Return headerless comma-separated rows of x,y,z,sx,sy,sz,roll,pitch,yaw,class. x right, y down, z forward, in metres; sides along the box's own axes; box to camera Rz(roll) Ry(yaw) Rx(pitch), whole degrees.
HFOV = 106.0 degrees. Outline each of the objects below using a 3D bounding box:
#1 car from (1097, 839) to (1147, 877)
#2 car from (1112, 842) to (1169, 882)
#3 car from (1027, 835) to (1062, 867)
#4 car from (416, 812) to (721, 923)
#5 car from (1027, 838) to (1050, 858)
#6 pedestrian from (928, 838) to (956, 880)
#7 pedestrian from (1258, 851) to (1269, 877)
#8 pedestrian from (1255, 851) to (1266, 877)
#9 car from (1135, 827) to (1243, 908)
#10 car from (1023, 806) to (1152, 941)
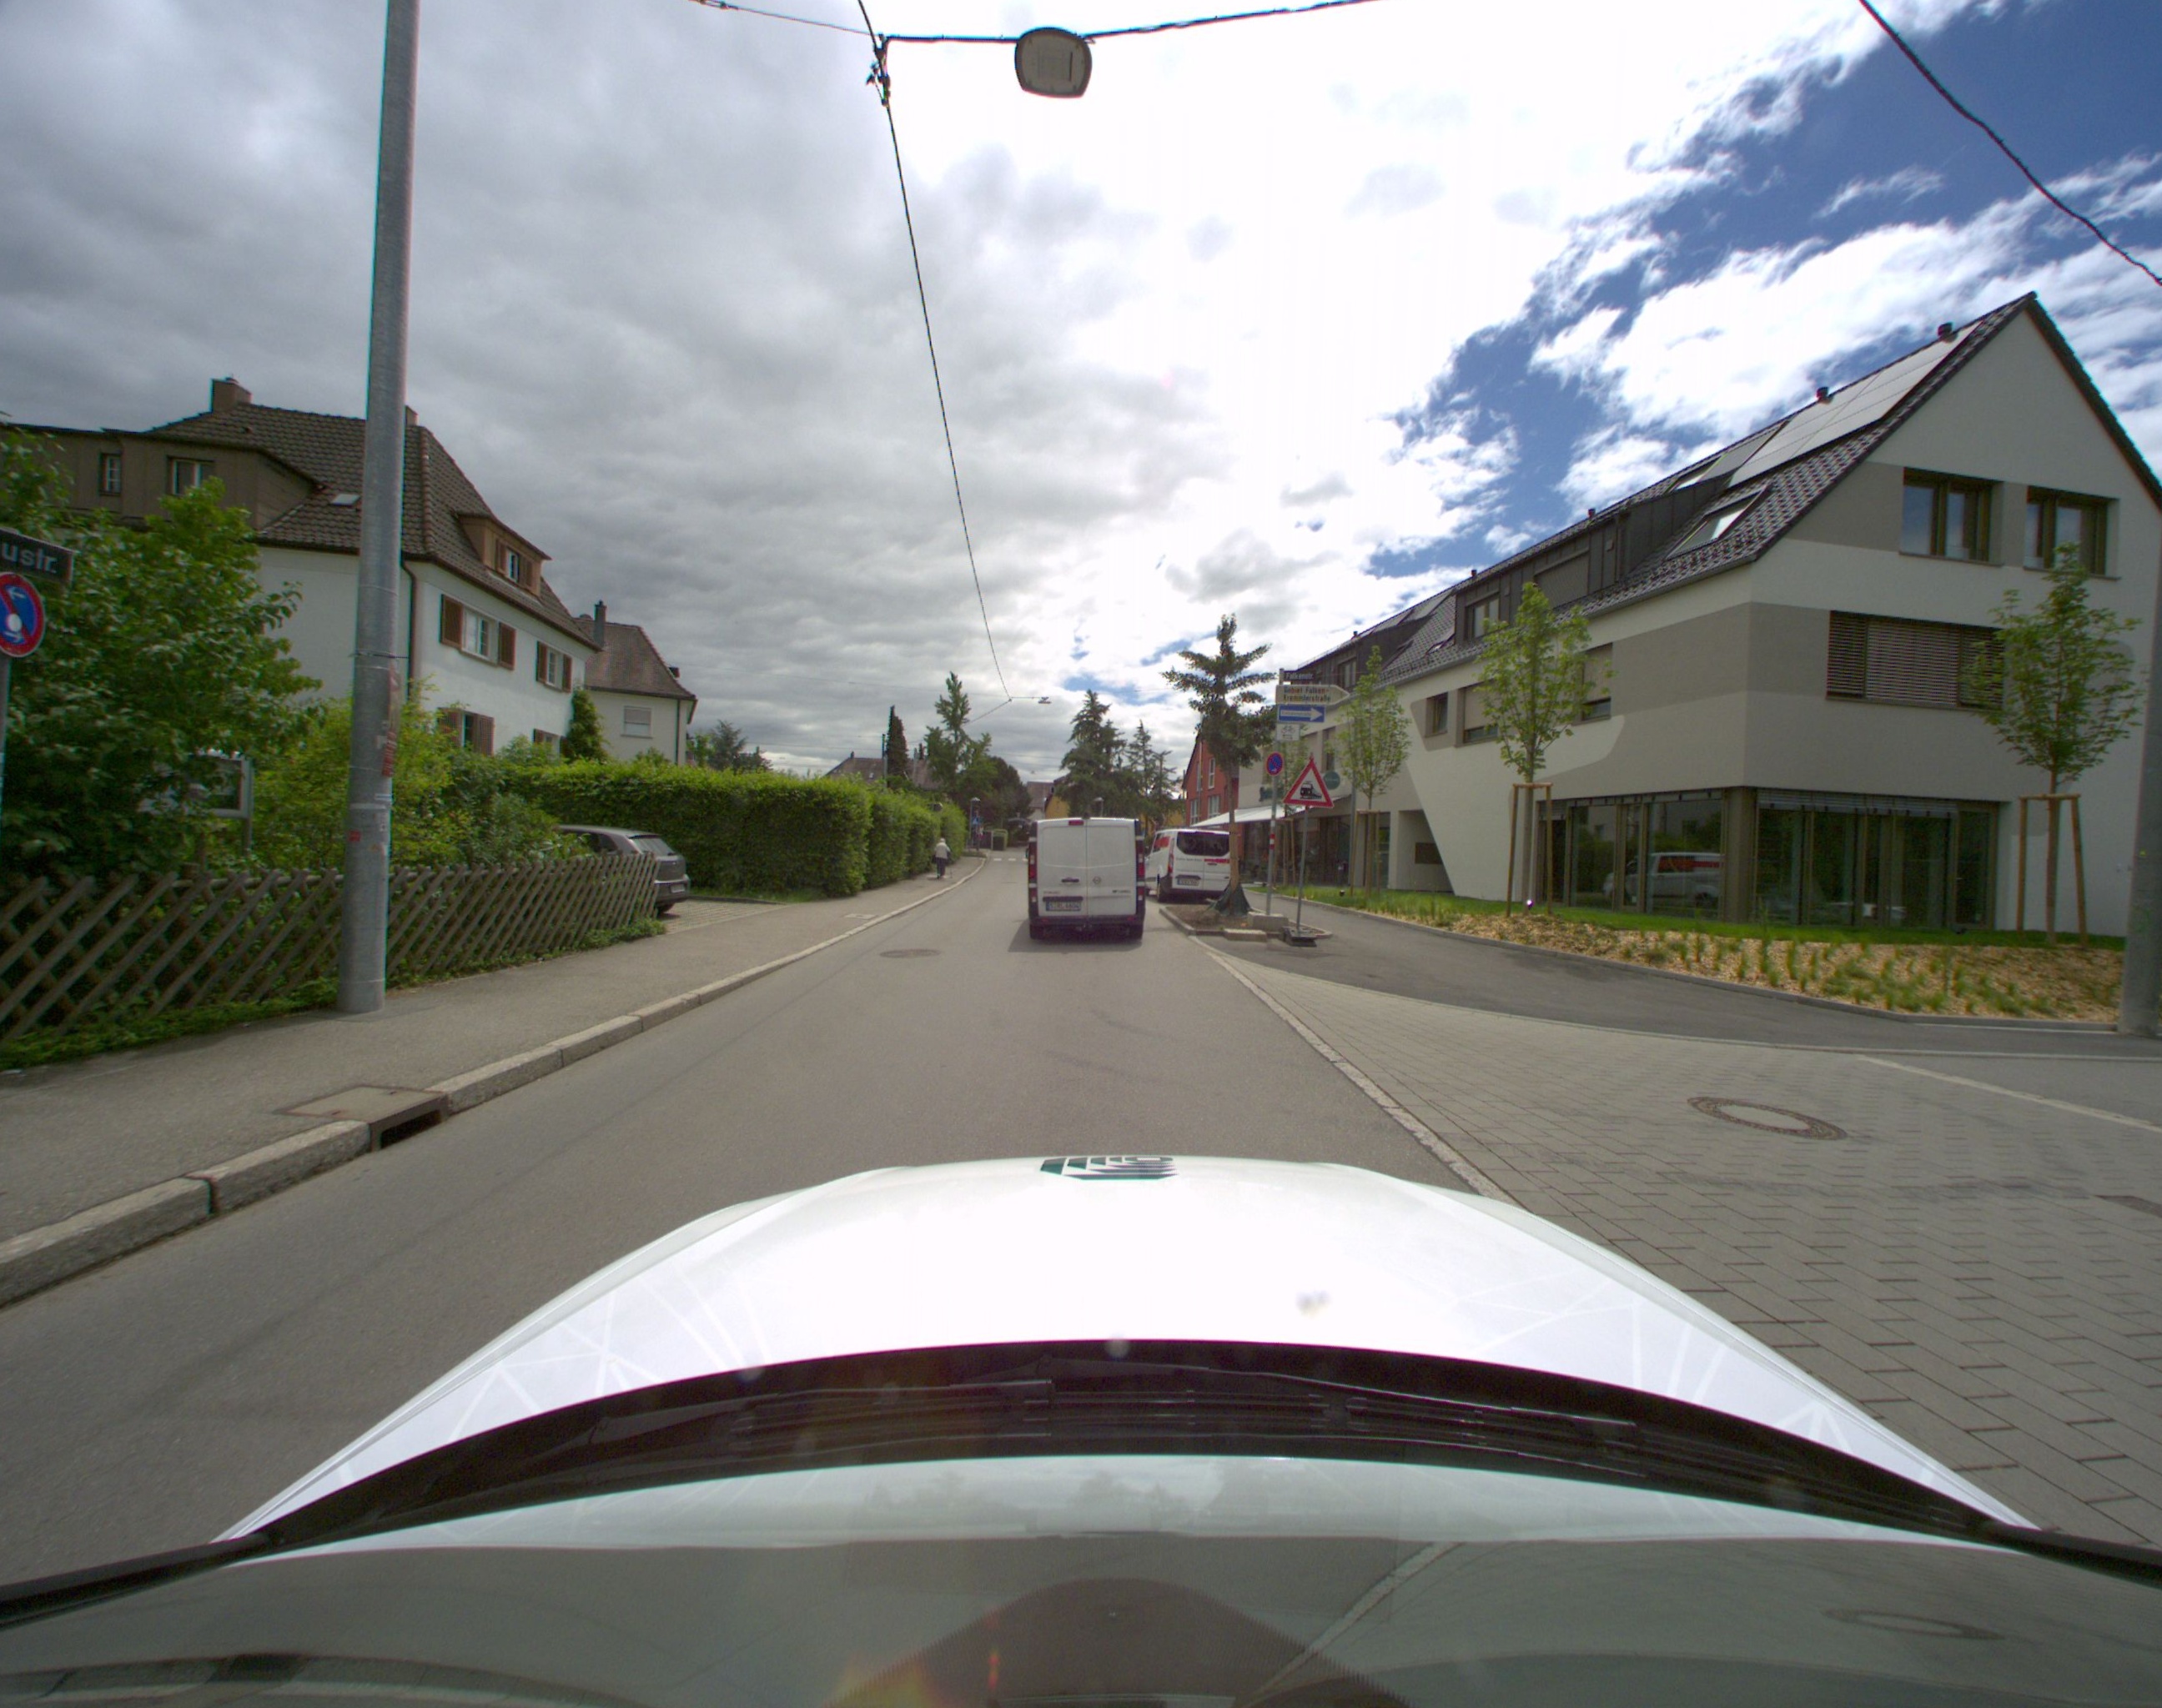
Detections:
1.938,0.157,39.510,1.700,1.614,4.250,4,0,-6,car
2.472,0.316,34.677,1.739,1.494,3.648,4,0,-6,car
-2.253,-0.173,50.086,1.989,1.848,3.995,1,0,-3,car
-8.117,0.209,13.181,3.661,1.434,1.816,4,0,-1,car
-3.776,-0.521,72.818,1.989,1.782,3.995,1,0,-3,car
-5.230,0.184,30.624,0.880,1.485,0.452,4,-1,-23,pedestrian
8.384,0.465,37.395,0.420,1.165,0.323,2,0,-6,pedestrian
8.324,0.452,37.761,0.420,1.182,0.323,2,0,-6,pedestrian
2.885,0.325,22.889,1.954,1.915,4.894,4,0,-4,car
0.023,0.304,14.506,1.911,2.003,4.434,1,0,-2,car
